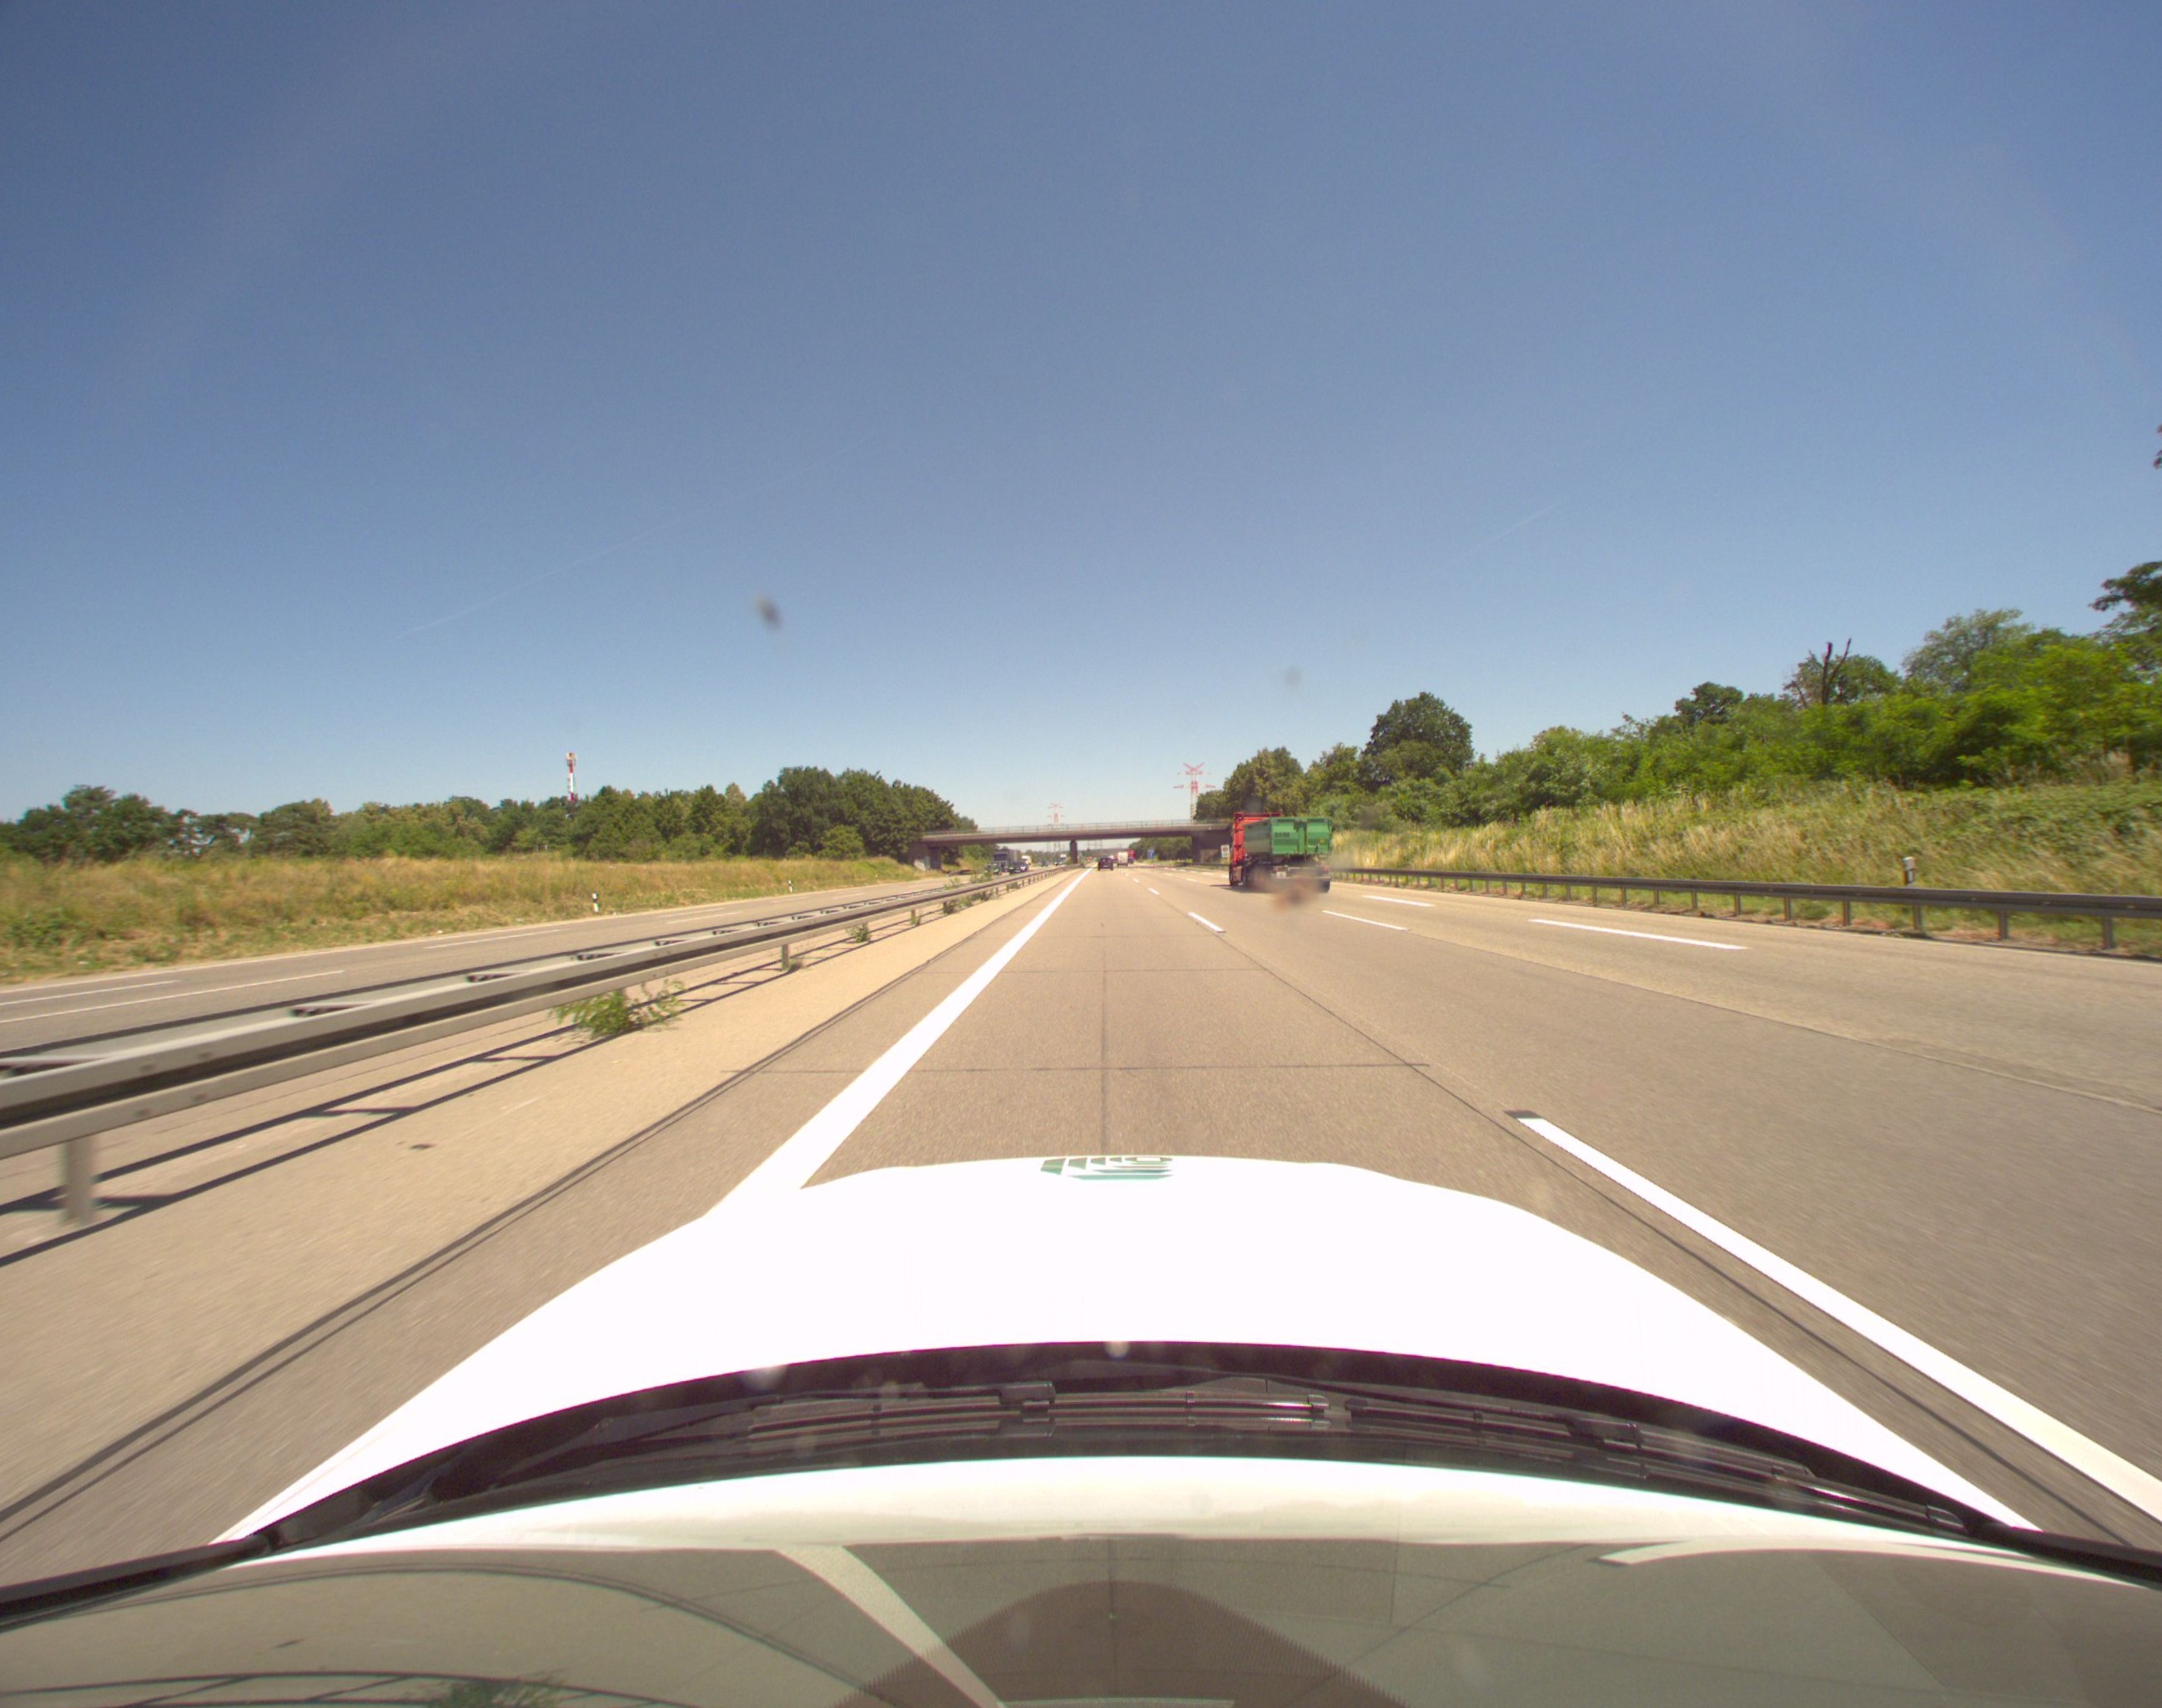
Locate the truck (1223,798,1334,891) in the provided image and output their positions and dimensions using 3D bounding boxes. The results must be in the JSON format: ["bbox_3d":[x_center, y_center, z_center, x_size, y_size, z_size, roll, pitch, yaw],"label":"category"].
[{"bbox_3d":[9.147,-0.367,39.468,2.671,3.798,12.482,0,0,2],"label":"truck"}]

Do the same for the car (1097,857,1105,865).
[{"bbox_3d":[4.626,1.663,190.200,1.788,1.750,4.001,0,0,1],"label":"car"}]

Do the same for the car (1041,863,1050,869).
[{"bbox_3d":[-10.560,3.462,245.083,2.220,1.611,5.061,-4,0,1],"label":"car"}]

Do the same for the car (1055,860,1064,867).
[{"bbox_3d":[-6.363,2.817,242.532,2.220,1.611,5.061,-4,0,1],"label":"car"}]

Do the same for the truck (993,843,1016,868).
[{"bbox_3d":[-13.281,0.265,142.759,2.938,3.960,6.954,-4,0,1],"label":"truck"}]

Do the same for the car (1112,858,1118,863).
[{"bbox_3d":[10.508,1.940,250.573,1.740,1.634,4.005,0,0,2],"label":"car"}]

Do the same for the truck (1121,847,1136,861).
[{"bbox_3d":[13.955,0.091,240.700,4.315,3.941,16.085,0,0,2],"label":"truck"}]

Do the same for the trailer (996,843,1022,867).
[{"bbox_3d":[-13.120,0.209,149.791,2.938,4.108,14.106,-4,0,1],"label":"trailer"}]

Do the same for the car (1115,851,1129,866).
[{"bbox_3d":[8.116,0.850,160.654,2.611,2.759,6.098,0,0,2],"label":"car"}]

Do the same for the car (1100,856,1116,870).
[{"bbox_3d":[3.425,1.077,103.573,1.986,1.750,4.001,0,0,1],"label":"car"}]

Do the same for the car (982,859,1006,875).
[{"bbox_3d":[-10.720,1.582,100.480,2.220,1.812,5.300,-4,0,1],"label":"car"}]

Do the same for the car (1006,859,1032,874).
[{"bbox_3d":[-6.806,1.399,89.857,2.220,1.424,5.300,-4,0,1],"label":"car"}]
